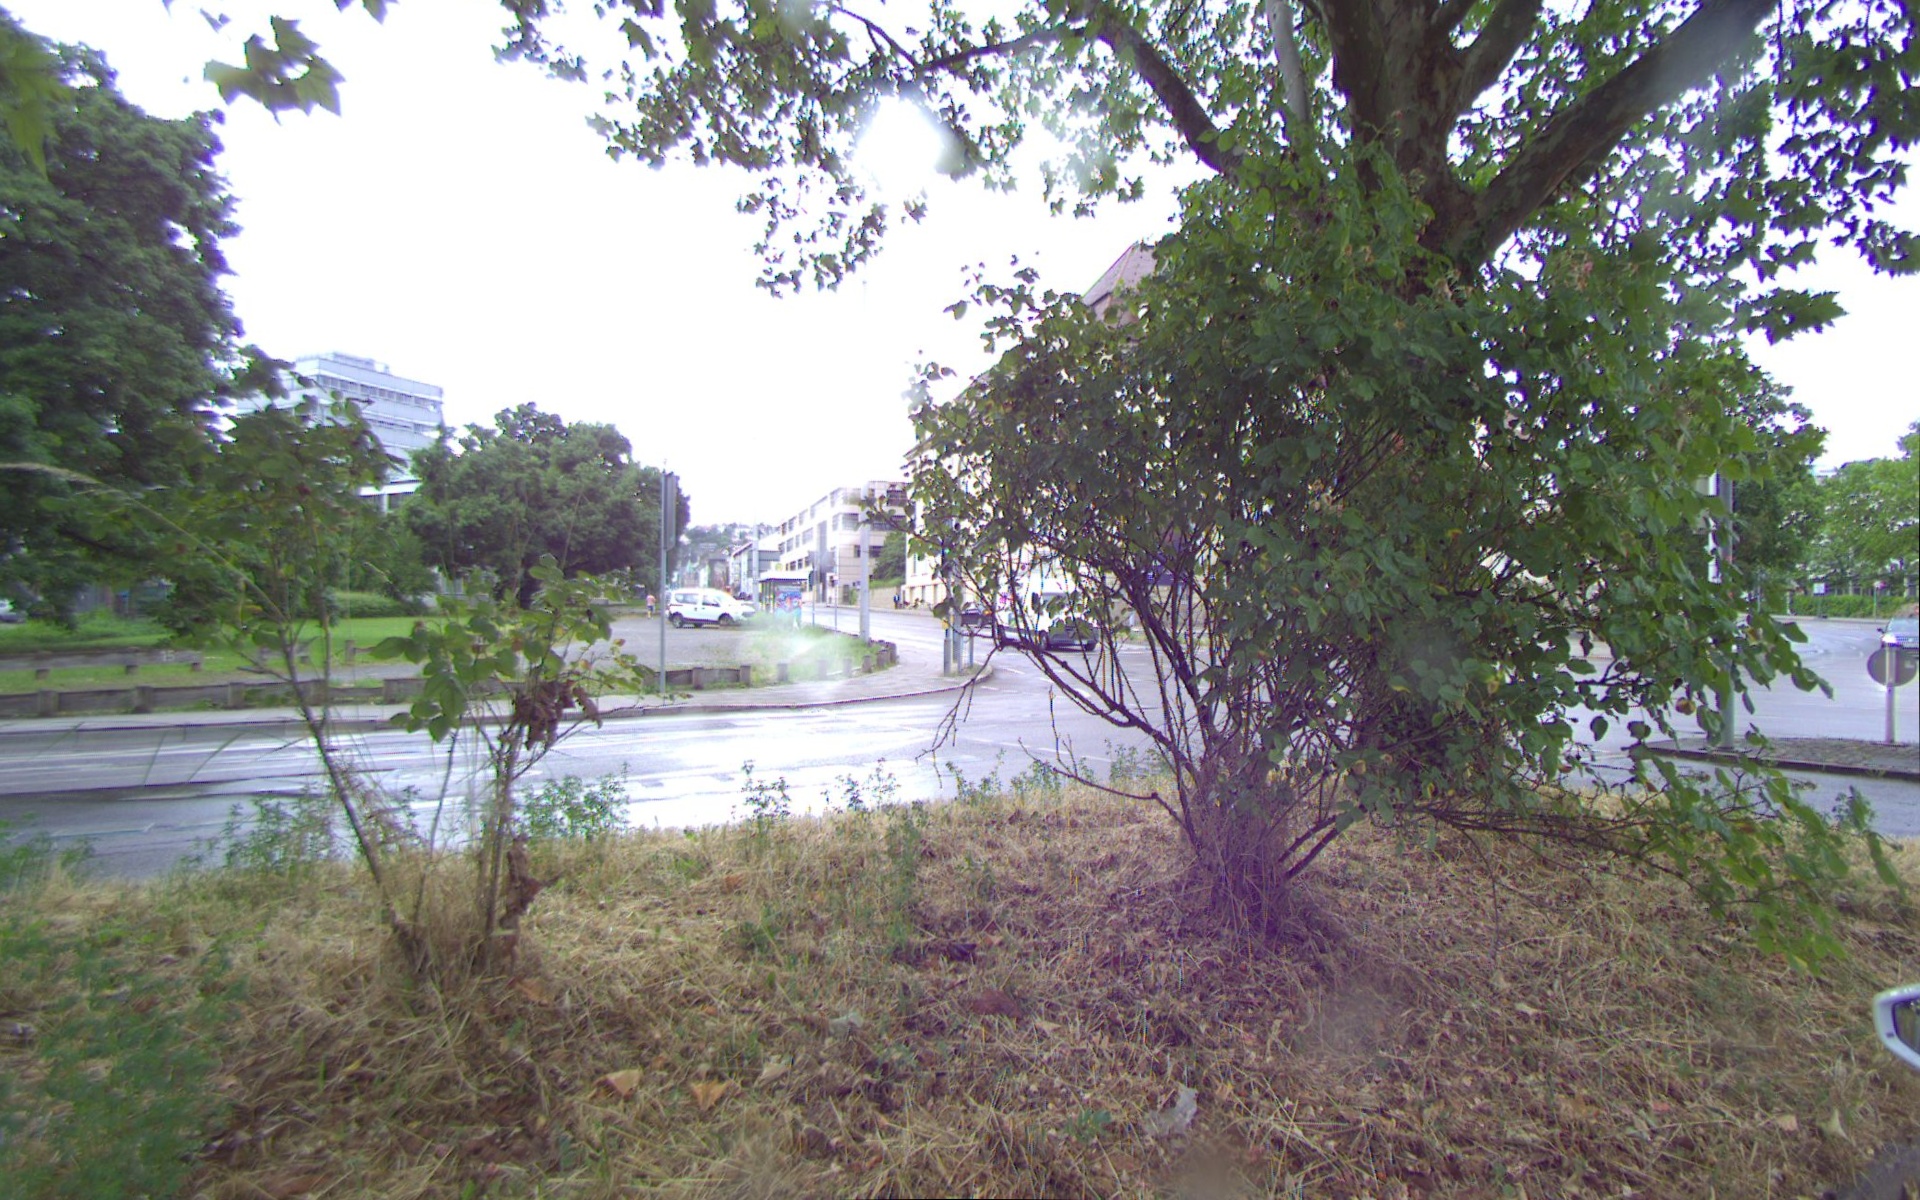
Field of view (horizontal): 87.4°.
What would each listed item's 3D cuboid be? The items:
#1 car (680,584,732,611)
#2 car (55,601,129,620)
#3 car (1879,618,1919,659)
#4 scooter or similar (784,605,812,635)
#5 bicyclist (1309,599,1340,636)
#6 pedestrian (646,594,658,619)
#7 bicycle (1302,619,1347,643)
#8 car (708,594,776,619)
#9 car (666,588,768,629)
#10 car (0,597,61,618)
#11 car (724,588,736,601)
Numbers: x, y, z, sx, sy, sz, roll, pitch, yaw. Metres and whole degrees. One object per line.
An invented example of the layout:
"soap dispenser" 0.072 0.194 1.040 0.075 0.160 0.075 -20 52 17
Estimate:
"car" -17.191 -0.162 67.889 1.838 1.765 4.029 1 -1 -39
"car" -60.328 0.703 69.854 3.500 1.158 1.586 2 0 -18
"car" 39.309 1.565 41.571 1.847 1.585 4.252 -1 -1 43
"scooter or similar" -6.573 0.798 40.852 0.541 1.182 1.253 2 0 20
"bicyclist" 16.775 0.787 46.229 0.698 1.654 1.113 2 0 -45
"pedestrian" -19.371 0.382 63.195 0.557 1.548 0.669 2 0 -8
"bicycle" 16.758 1.413 46.207 0.643 1.070 1.797 2 -1 -44
"car" -13.838 0.400 63.757 4.004 1.461 1.850 2 0 32
"car" -11.302 0.389 46.737 4.420 1.791 1.833 0 -1 24
"car" -58.518 0.459 62.491 3.500 1.158 1.586 2 0 -18
"car" -49.446 -1.140 215.708 1.969 2.652 3.983 2 0 -19
